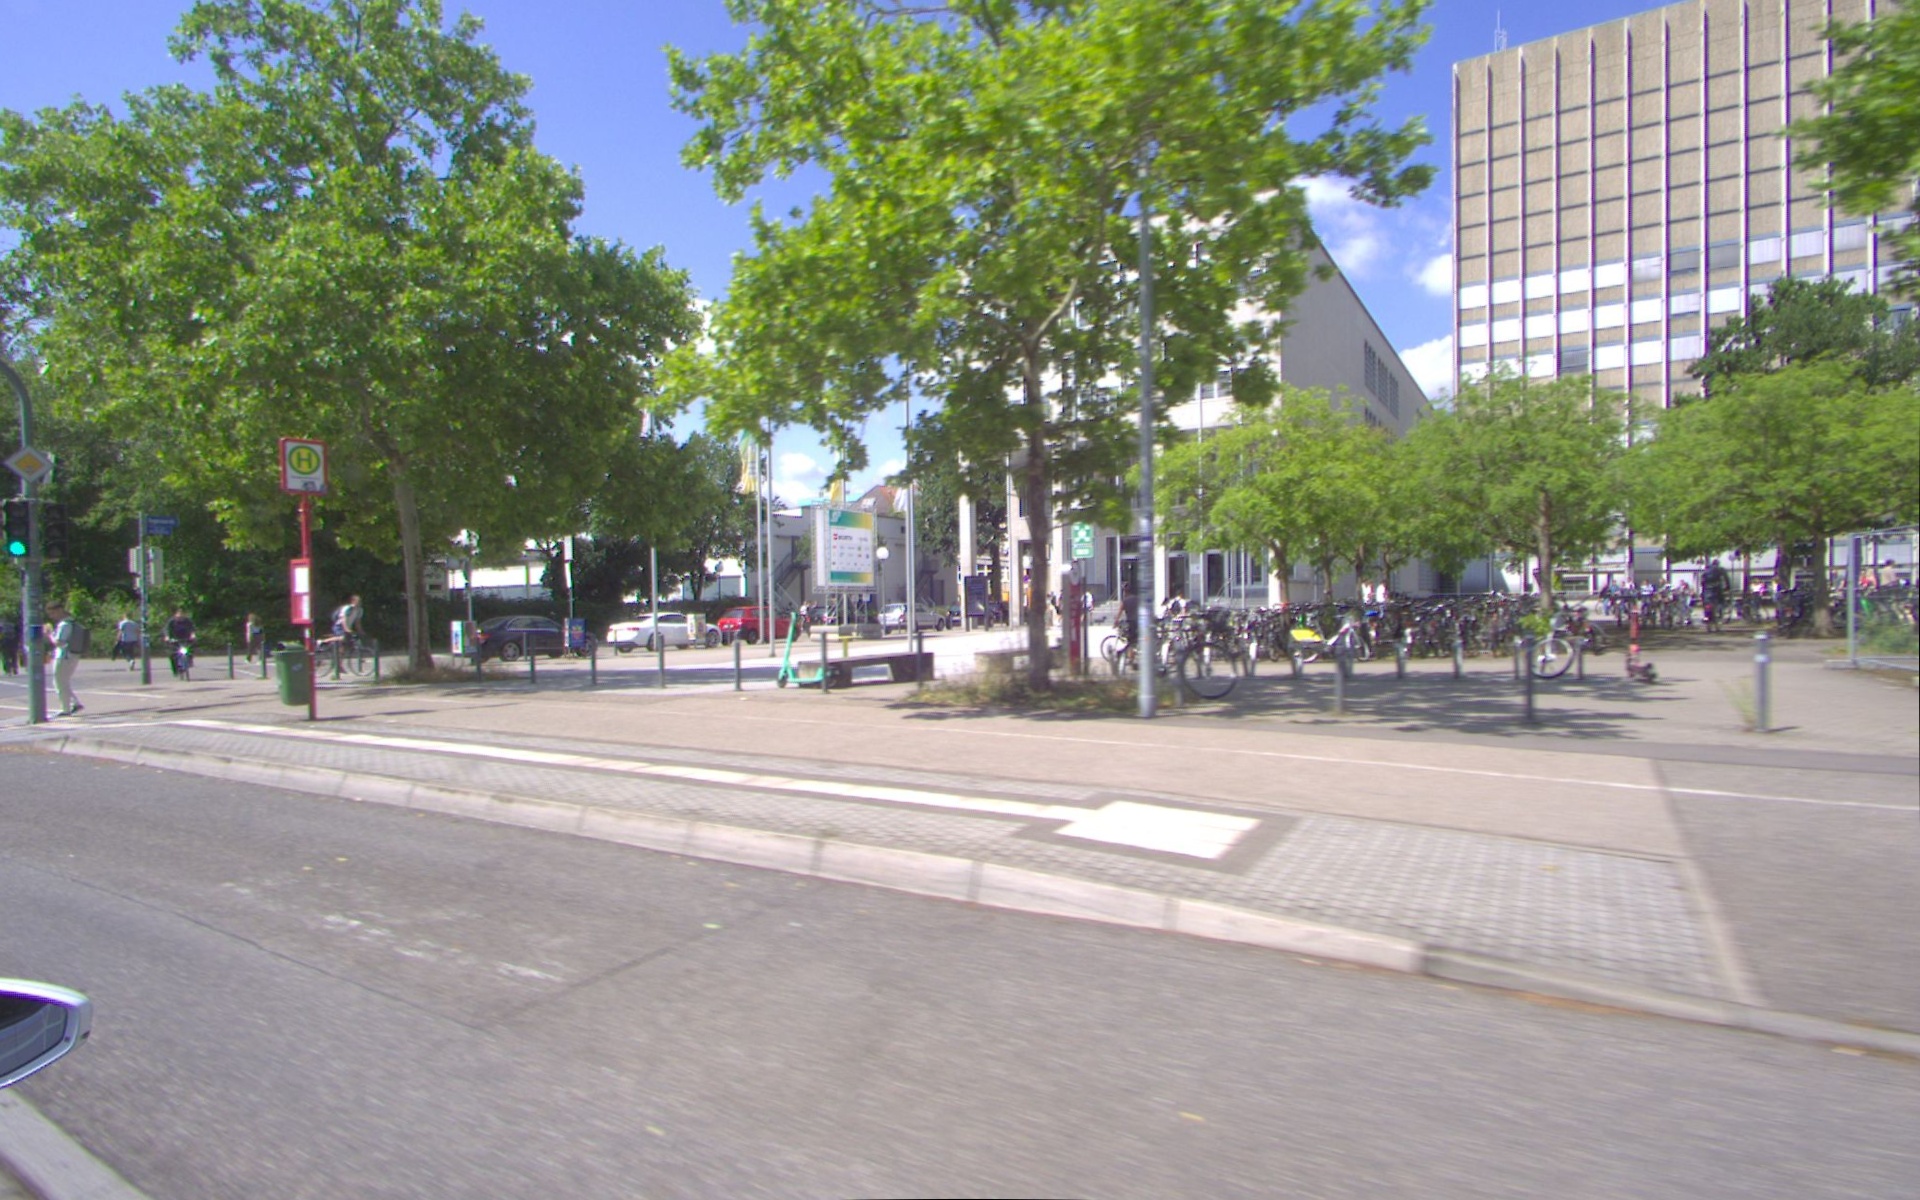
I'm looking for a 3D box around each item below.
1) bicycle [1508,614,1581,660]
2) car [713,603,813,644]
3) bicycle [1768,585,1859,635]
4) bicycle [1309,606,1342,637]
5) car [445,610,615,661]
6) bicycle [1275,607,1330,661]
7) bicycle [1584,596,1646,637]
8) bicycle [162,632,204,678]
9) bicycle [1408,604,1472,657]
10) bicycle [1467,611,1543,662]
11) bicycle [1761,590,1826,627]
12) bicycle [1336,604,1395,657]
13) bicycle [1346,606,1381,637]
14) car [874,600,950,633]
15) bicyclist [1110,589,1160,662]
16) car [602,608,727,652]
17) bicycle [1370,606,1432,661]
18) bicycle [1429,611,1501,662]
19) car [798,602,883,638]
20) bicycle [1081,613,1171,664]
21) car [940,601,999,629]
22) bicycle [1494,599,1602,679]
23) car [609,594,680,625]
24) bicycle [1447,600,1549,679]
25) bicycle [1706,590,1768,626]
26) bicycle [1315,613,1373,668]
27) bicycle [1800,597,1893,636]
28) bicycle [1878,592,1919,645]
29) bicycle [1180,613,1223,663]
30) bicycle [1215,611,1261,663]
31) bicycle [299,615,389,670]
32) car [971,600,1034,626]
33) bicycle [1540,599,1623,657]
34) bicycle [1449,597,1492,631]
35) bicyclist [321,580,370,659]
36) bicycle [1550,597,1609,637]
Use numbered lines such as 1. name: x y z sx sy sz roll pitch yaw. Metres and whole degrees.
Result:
1. bicycle: 11.784 0.724 20.240 0.475 0.880 1.767 0 0 1
2. car: -8.058 0.945 41.274 1.597 1.516 4.124 -3 -1 32
3. bicycle: 19.645 0.244 23.097 0.592 1.113 1.768 0 -2 1
4. bicycle: 13.599 0.808 37.255 0.592 1.113 1.768 0 -2 1
5. car: -13.677 1.100 32.162 1.699 1.418 4.923 -3 -1 31
6. bicycle: 7.368 0.729 21.618 0.592 1.113 1.768 0 -2 1
7. bicycle: 18.468 0.480 28.271 0.592 1.113 1.768 0 -2 1
8. bicycle: -19.751 1.378 25.452 0.809 1.087 1.875 0 0 -39
9. bicycle: 10.619 0.659 22.217 0.592 1.113 1.767 0 0 1
10. bicycle: 10.991 0.720 20.258 0.592 0.967 1.767 0 0 1
11. bicycle: 26.344 0.287 31.677 0.592 1.113 1.768 0 -2 1
12. bicycle: 8.818 0.644 21.816 0.592 1.113 1.767 -1 0 1
13. bicycle: 15.027 0.807 37.294 0.592 1.113 1.768 0 -2 1
14. car: -2.380 0.812 50.520 1.698 1.549 4.547 -3 -1 28
15. bicyclist: 3.902 0.567 22.389 0.652 1.585 0.929 -1 1 -26
16. car: -10.793 1.060 36.884 1.700 1.418 4.416 -4 -2 31
17. bicycle: 9.544 0.701 21.725 0.592 1.113 1.767 0 1 1
18. bicycle: 10.201 0.722 20.275 0.592 0.967 1.767 0 0 1
19. car: -5.394 0.875 45.636 1.700 1.549 3.979 -1 0 32
20. bicycle: 3.725 0.882 22.636 0.890 1.092 2.146 0 -2 -27
21. car: 0.586 0.813 56.223 1.595 1.516 3.987 -1 0 30
22. bicycle: 8.696 0.573 14.890 0.592 1.113 1.768 0 -2 1
23. car: -21.139 0.684 67.059 4.868 2.012 1.989 -1 -1 34
24. bicycle: 8.014 0.588 15.003 0.592 1.113 1.768 0 -2 1
25. bicycle: 24.608 0.264 31.761 0.592 1.113 1.768 0 -2 1
26. bicycle: 8.173 0.849 21.391 0.592 1.113 1.767 0 0 1
27. bicycle: 20.576 0.394 23.284 0.592 0.880 1.768 0 -2 1
28. bicycle: 20.507 0.389 21.153 0.592 1.113 1.768 0 -2 1
29. bicycle: 5.598 0.887 23.270 0.592 1.113 1.768 0 -2 1
30. bicycle: 6.249 0.835 22.586 0.592 1.113 1.768 0 -2 1
31. bicycle: -14.803 1.021 24.095 1.838 1.313 0.662 0 -1 8
32. car: 2.601 0.738 60.292 1.845 1.484 4.497 -1 0 31
33. bicycle: 12.400 0.572 20.042 0.592 1.113 1.768 0 -2 1
34. bicycle: 17.621 0.495 34.590 0.592 1.113 1.768 0 -2 1
35. bicyclist: -14.790 0.471 24.098 0.747 1.869 0.662 0 -1 9
36. bicycle: 17.623 0.490 28.529 0.592 1.113 1.768 0 -2 1
